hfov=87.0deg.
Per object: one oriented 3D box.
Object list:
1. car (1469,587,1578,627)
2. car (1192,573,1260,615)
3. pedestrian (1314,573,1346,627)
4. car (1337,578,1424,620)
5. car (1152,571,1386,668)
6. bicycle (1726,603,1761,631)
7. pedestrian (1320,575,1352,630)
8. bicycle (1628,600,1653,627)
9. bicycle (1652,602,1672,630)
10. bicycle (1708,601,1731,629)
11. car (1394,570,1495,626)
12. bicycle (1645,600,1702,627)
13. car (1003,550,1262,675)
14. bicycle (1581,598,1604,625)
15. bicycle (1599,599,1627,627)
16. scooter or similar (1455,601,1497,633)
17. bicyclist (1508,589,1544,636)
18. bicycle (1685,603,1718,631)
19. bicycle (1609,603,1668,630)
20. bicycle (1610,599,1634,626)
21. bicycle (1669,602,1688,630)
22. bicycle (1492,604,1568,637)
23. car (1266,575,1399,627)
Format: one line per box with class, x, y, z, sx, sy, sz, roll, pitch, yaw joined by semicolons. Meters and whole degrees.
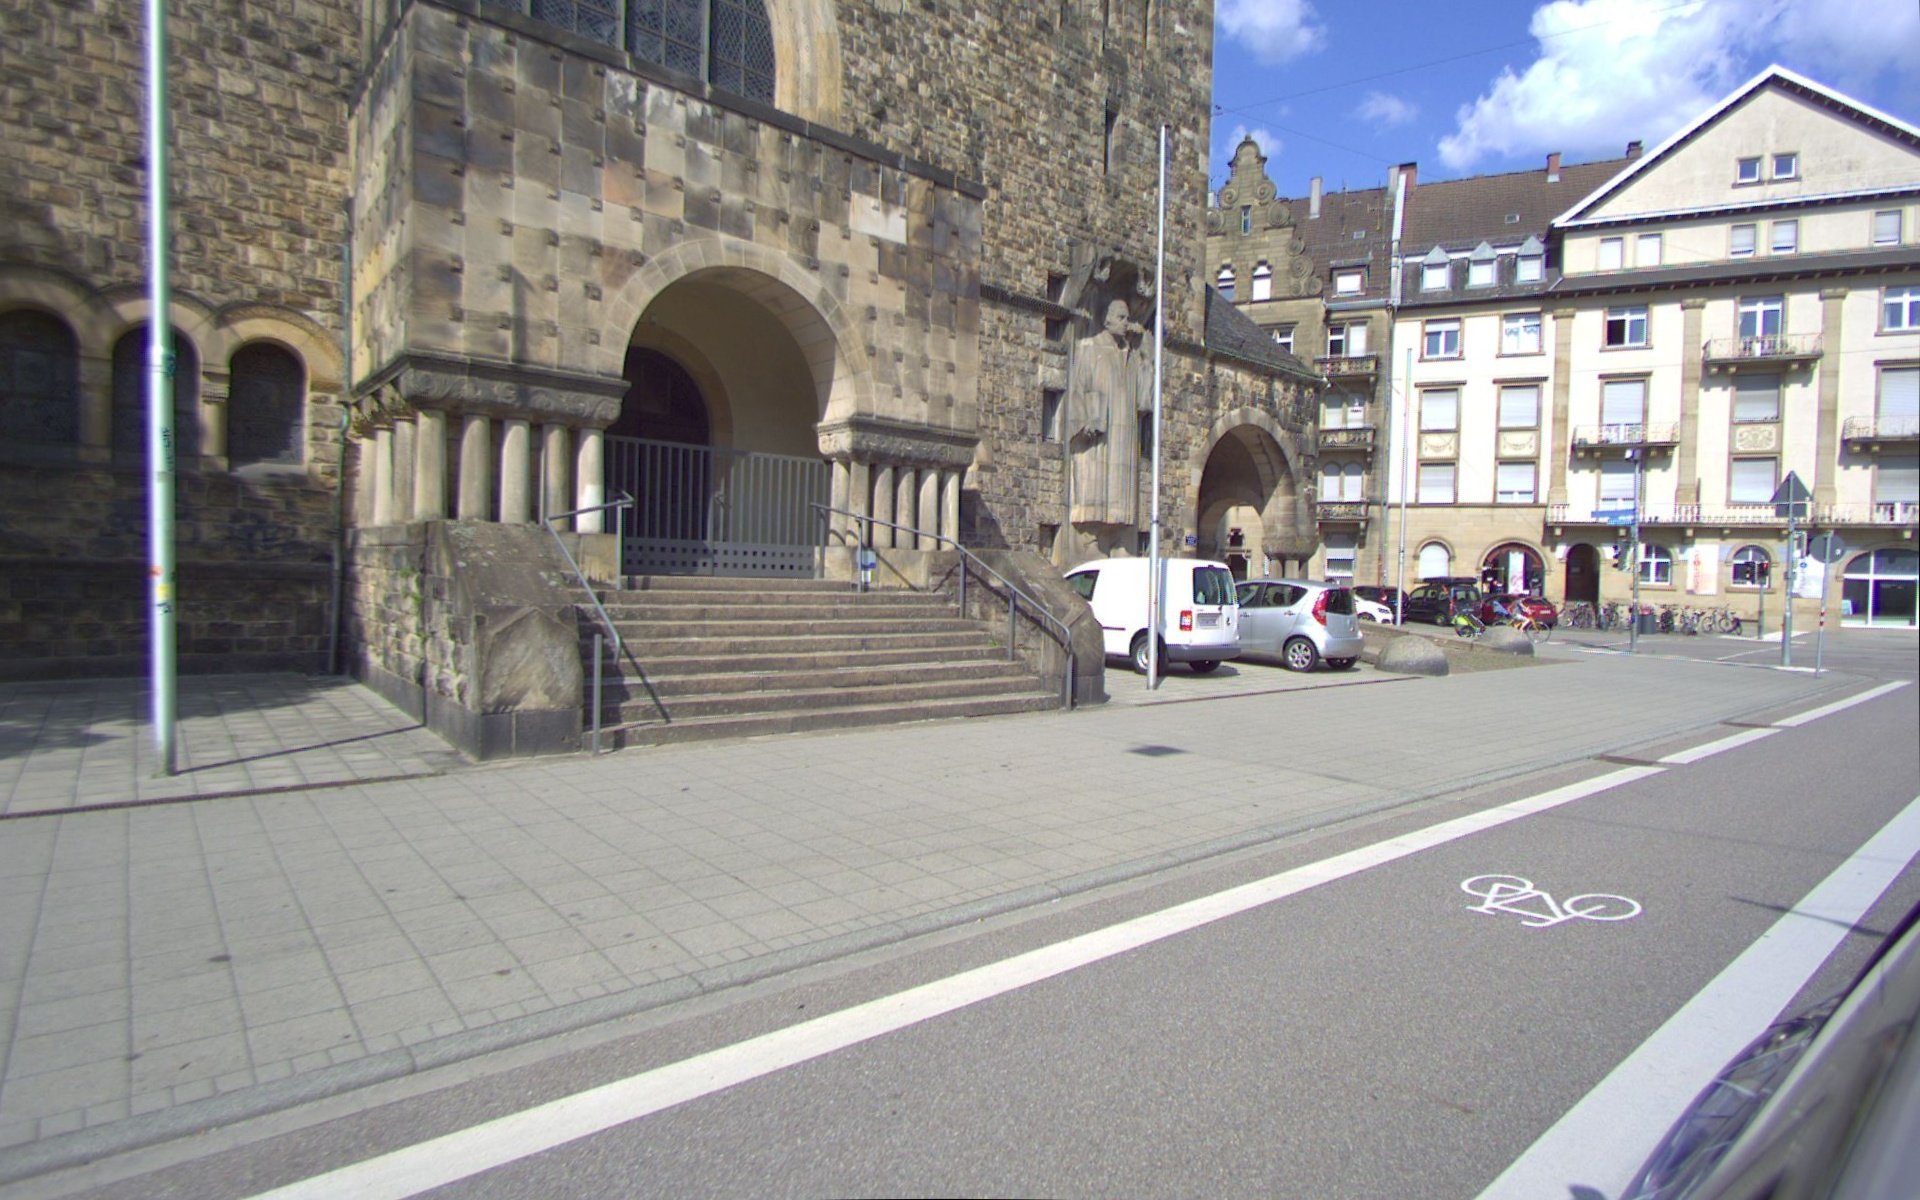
car;24.410;0.279;44.031;1.927;1.458;4.010;0;3;-12
car;12.989;-0.338;49.678;1.878;1.847;4.007;0;3;-6
pedestrian;10.366;-0.007;28.393;0.508;1.423;0.558;7;3;3
car;19.317;-0.090;46.674;1.675;1.688;4.010;0;4;-12
car;5.631;0.294;18.745;1.766;1.566;3.773;1;1;-41
bicycle;32.219;0.681;41.642;0.602;1.030;1.865;2;3;21
pedestrian;10.331;0.052;27.825;0.508;1.423;0.558;7;3;3
bicycle;29.116;0.557;43.312;0.534;1.030;1.914;2;4;24
bicycle;29.103;0.637;41.953;0.537;1.030;1.903;3;4;38
bicycle;31.547;0.630;42.041;0.606;1.030;1.855;2;4;33
car;21.744;-0.160;45.617;1.927;2.106;4.013;0;6;-12
bicycle;30.470;0.569;43.243;1.911;1.030;0.535;2;4;29
car;2.790;0.126;17.046;1.832;1.846;4.008;1;1;-42
bicycle;27.339;0.491;43.787;0.534;1.030;1.914;2;4;24
bicycle;27.537;0.535;42.717;0.533;1.030;1.917;1;4;20
scooter or similar;17.389;0.562;34.122;1.117;0.989;0.884;2;1;21
bicyclist;18.892;0.424;33.806;0.911;1.522;0.648;2;0;21
bicycle;30.184;0.672;41.187;1.844;1.031;0.602;-2;4;-39
bicycle;27.516;0.677;41.087;1.896;1.030;0.539;1;3;9
bicycle;28.486;0.538;43.580;0.534;1.030;1.914;2;4;24
bicycle;29.676;0.647;41.784;0.537;1.030;1.902;3;4;38
bicycle;19.001;0.670;33.764;2.108;1.001;0.648;2;1;21
car;14.087;-0.007;38.308;4.613;1.761;1.800;2;1;24
